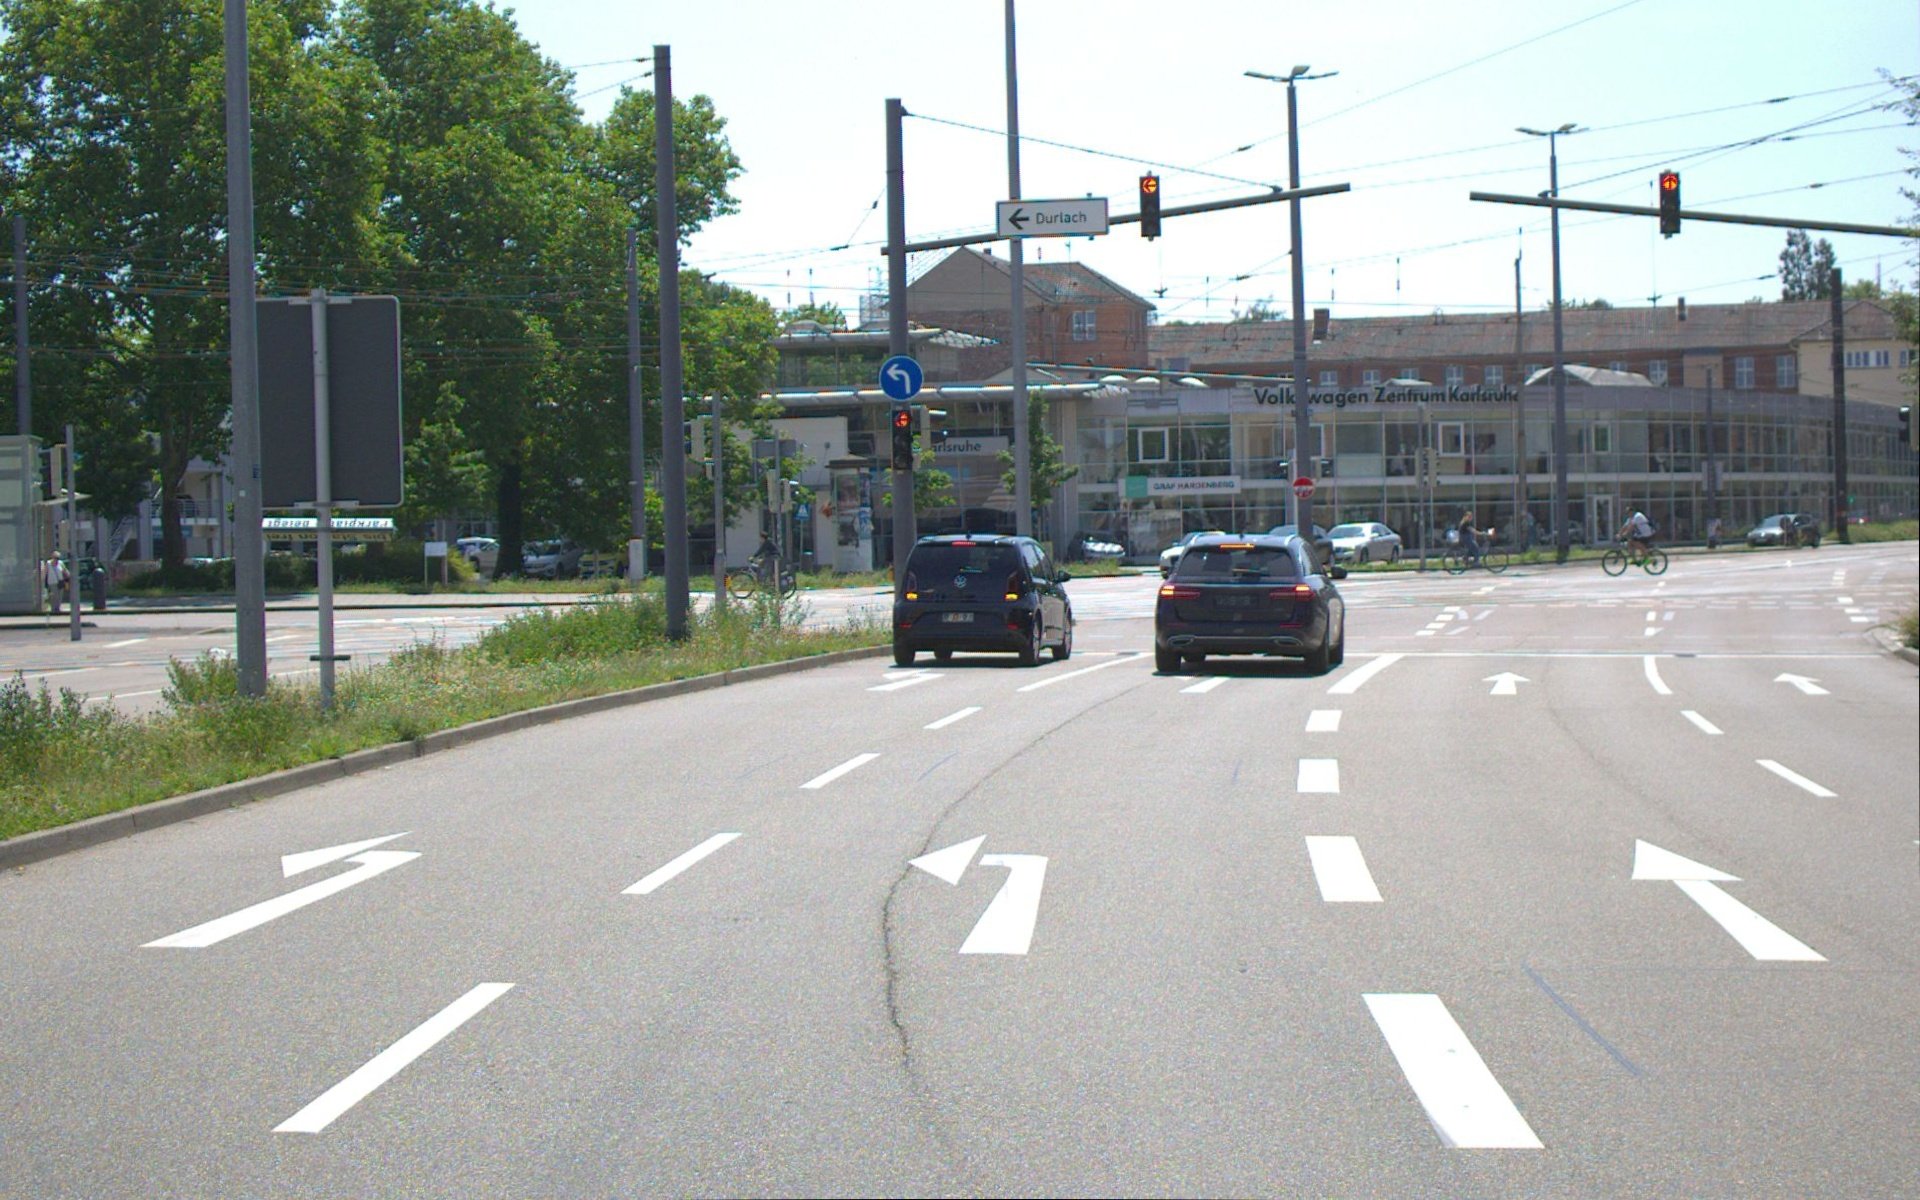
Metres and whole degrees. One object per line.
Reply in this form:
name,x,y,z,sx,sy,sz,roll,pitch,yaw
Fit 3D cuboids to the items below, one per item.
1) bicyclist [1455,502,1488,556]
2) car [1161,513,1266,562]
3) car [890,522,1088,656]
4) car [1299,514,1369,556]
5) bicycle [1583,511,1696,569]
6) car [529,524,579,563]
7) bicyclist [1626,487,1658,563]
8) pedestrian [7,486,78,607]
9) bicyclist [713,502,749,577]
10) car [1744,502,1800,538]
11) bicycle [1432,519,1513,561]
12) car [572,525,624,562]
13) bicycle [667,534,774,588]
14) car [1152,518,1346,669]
bicyclist,14.191,-1.980,95.431,0.731,1.474,0.656,-1,3,-8
car,7.580,-1.875,102.537,1.622,1.385,4.118,0,1,27
car,0.388,-0.163,39.673,1.622,1.458,3.998,0,1,10
car,12.416,-2.166,113.983,1.433,1.281,3.258,1,4,23
bicycle,17.499,-1.541,88.570,2.826,1.458,0.634,0,3,9
car,-17.151,-2.400,145.217,1.425,1.503,3.438,0,3,5
bicyclist,17.564,-1.937,88.544,0.763,1.931,0.660,0,3,9
pedestrian,-22.552,-1.323,84.518,1.214,2.927,1.336,0,3,7
bicyclist,-6.087,-1.608,91.446,0.846,1.958,0.626,0,3,3
car,34.767,-3.440,147.153,1.573,1.422,3.609,1,4,26
bicycle,14.225,-1.668,95.443,2.160,1.103,0.457,-1,3,-7
car,-15.163,-2.372,144.170,1.510,1.413,3.421,0,3,5
bicycle,-6.371,-1.033,91.498,2.775,1.380,0.671,-1,3,4
car,3.268,-0.112,38.100,1.717,1.551,4.585,-1,1,10
